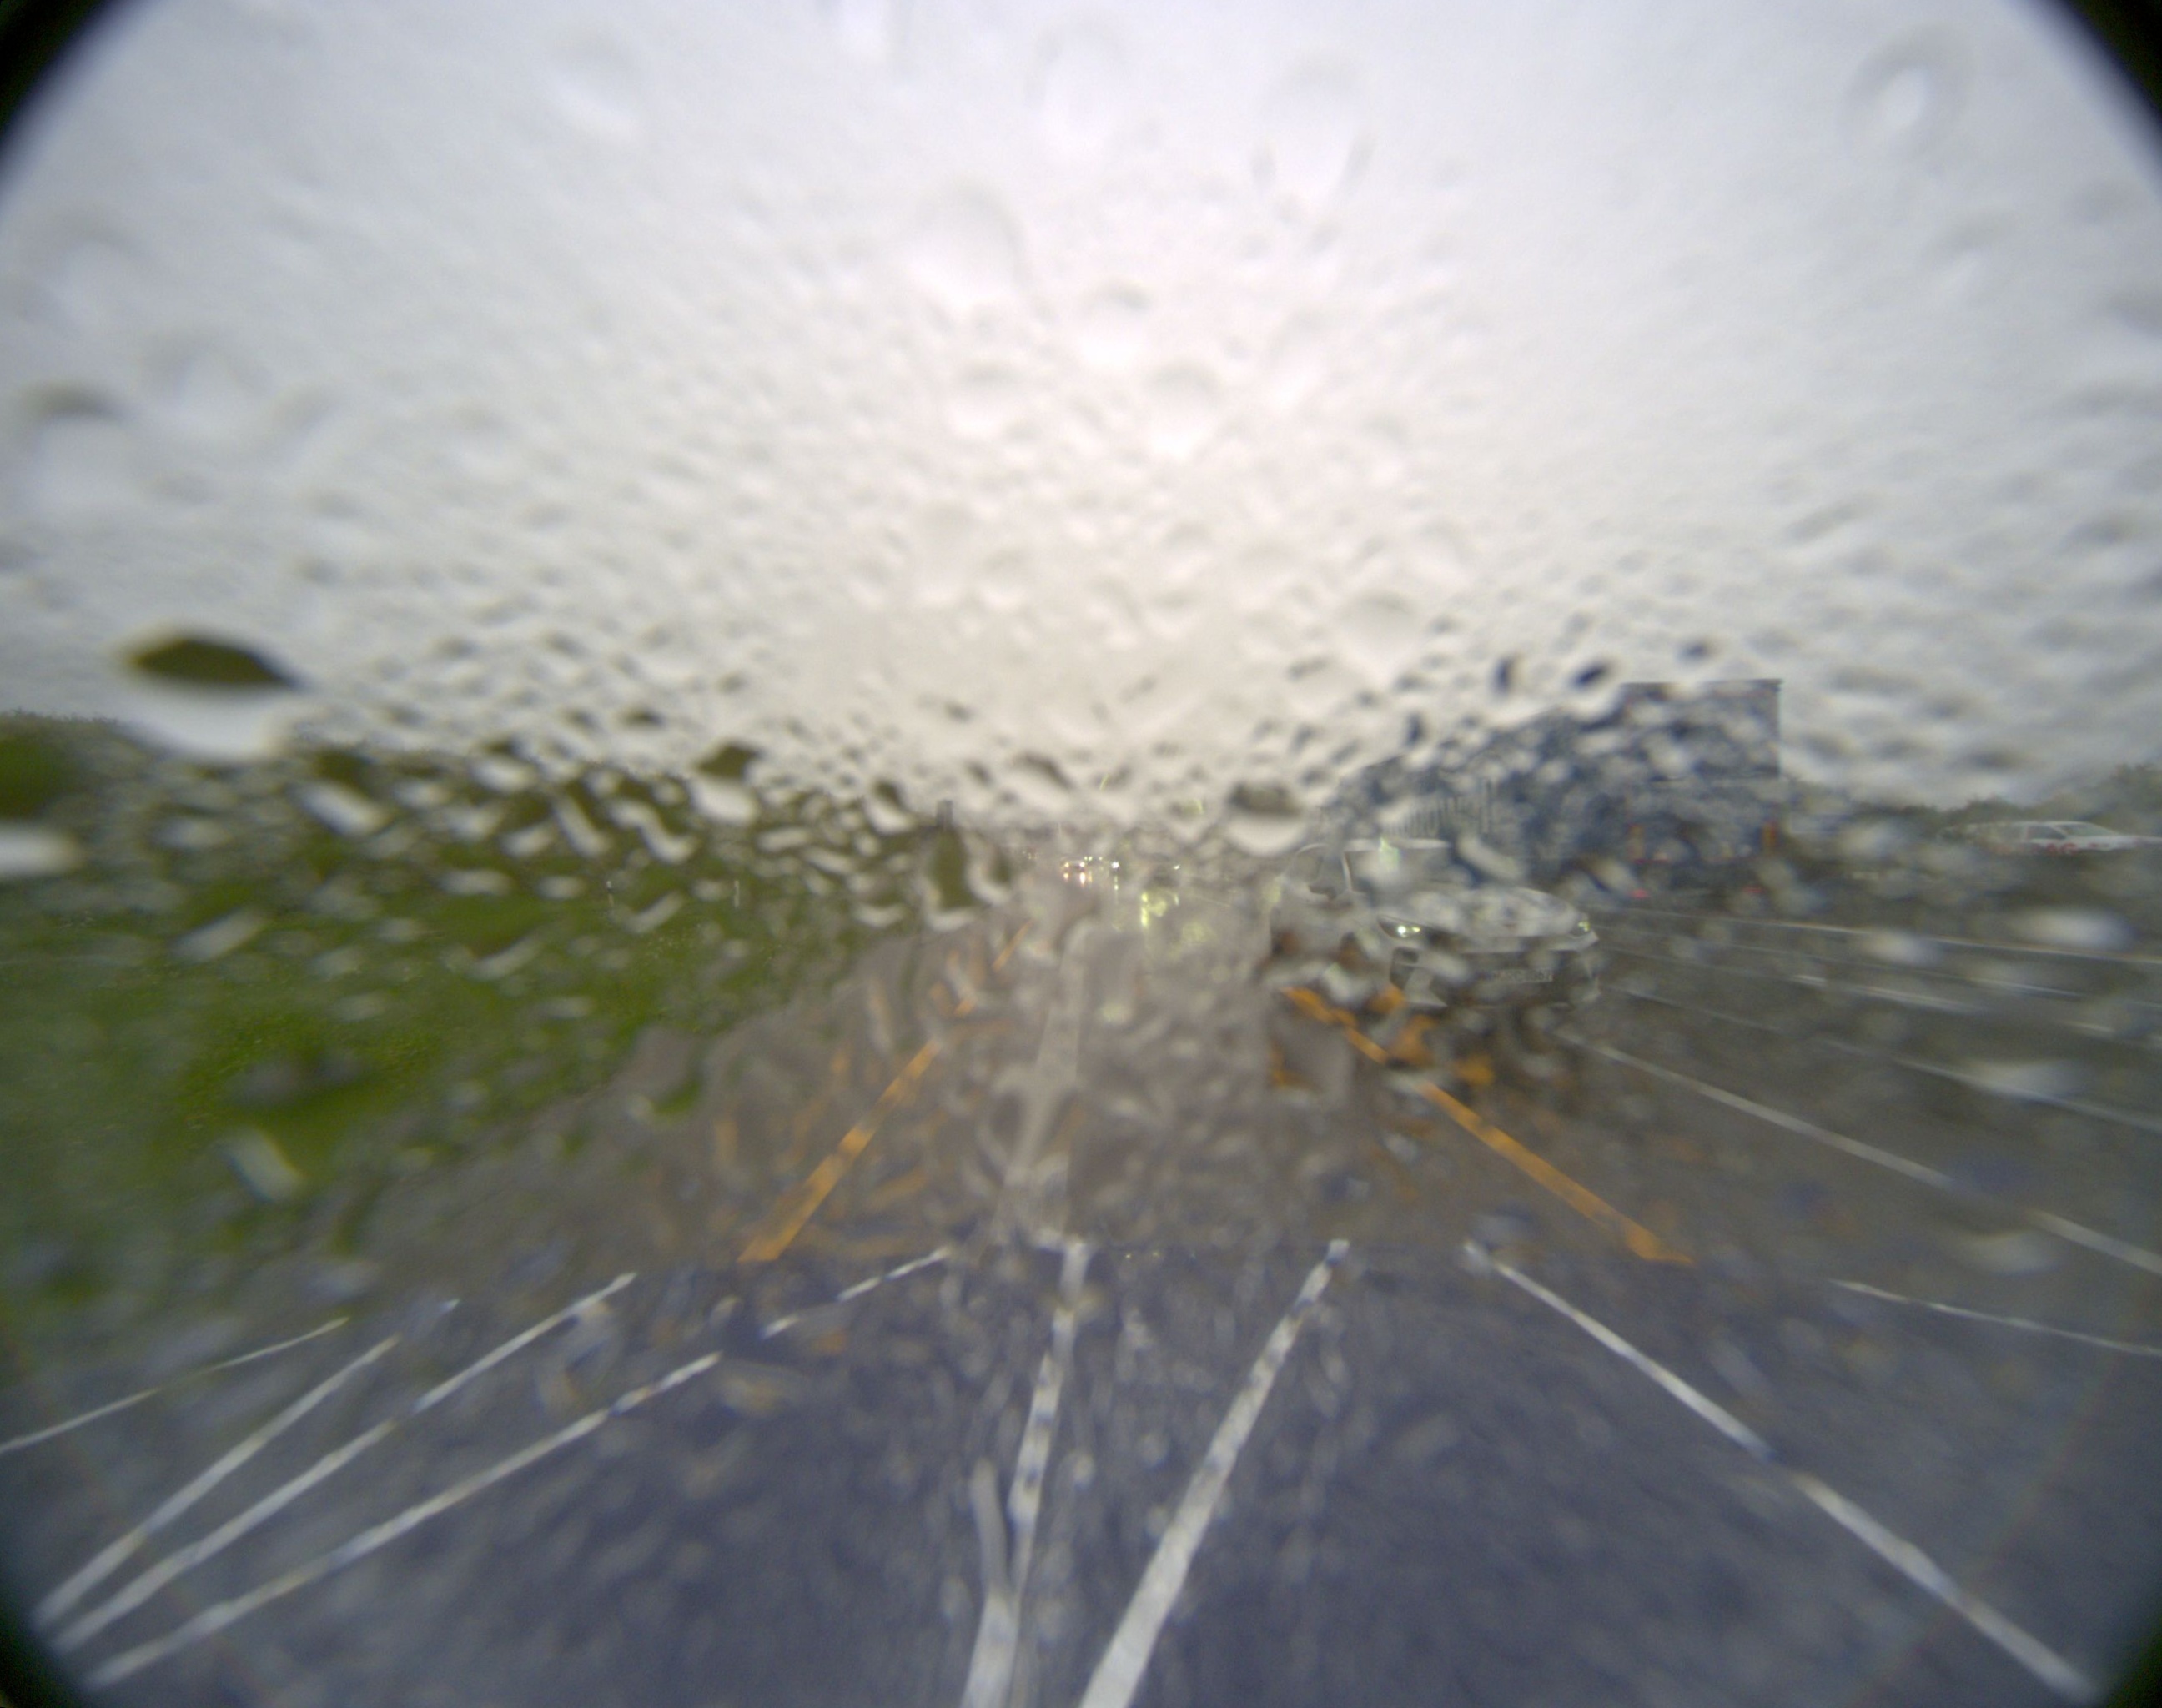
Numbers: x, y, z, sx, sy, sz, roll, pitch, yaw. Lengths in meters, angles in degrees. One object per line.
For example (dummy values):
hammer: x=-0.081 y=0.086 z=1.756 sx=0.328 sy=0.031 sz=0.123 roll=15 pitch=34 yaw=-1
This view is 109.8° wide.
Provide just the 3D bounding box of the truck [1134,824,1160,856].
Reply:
truck: x=8.778 y=-1.806 z=101.826 sx=2.649 sy=4.025 sz=7.283 roll=-3 pitch=1 yaw=-1

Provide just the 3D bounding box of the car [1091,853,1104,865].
car: x=2.183 y=0.701 z=102.069 sx=1.589 sy=1.528 sz=3.831 roll=-1 pitch=1 yaw=0

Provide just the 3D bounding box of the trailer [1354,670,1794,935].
trailer: x=9.930 y=-0.870 z=18.085 sx=2.606 sy=4.054 sz=12.431 roll=-2 pitch=1 yaw=1

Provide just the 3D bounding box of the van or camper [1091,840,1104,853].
van or camper: x=3.675 y=-1.682 z=173.312 sx=2.491 sy=2.902 sz=6.221 roll=-3 pitch=1 yaw=-1

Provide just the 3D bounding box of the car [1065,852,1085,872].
car: x=-0.540 y=0.696 z=71.466 sx=1.881 sy=1.772 sz=3.999 roll=-1 pitch=1 yaw=0

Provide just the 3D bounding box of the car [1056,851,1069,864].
car: x=-2.725 y=0.434 z=110.416 sx=1.674 sy=1.804 sz=3.998 roll=-1 pitch=1 yaw=-4

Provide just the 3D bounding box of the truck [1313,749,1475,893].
truck: x=10.073 y=-0.956 z=25.302 sx=2.630 sy=4.058 sz=6.669 roll=-2 pitch=0 yaw=1

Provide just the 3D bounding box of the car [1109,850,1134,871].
car: x=3.044 y=0.470 z=57.898 sx=1.792 sy=1.480 sz=4.000 roll=-3 pitch=1 yaw=2

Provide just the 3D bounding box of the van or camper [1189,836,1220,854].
van or camper: x=24.690 y=-1.806 z=152.449 sx=5.421 sy=3.325 sz=3.376 roll=-3 pitch=1 yaw=-3

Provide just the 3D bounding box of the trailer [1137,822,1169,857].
trailer: x=8.868 y=-1.775 z=95.107 sx=2.619 sy=3.984 sz=11.925 roll=-3 pitch=1 yaw=-1

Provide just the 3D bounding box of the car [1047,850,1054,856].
car: x=-9.086 y=-0.358 z=226.070 sx=1.673 sy=1.804 sz=3.999 roll=-1 pitch=1 yaw=0

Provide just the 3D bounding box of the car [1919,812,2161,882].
car: x=30.531 y=-0.230 z=24.045 sx=2.099 sy=1.955 sz=5.364 roll=-2 pitch=0 yaw=0

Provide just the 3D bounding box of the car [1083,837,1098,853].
car: x=2.460 y=-2.353 z=199.019 sx=3.306 sy=3.718 sz=9.398 roll=-3 pitch=1 yaw=-1

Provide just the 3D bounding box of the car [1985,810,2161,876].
car: x=34.978 y=-0.396 z=26.290 sx=2.365 sy=2.064 sz=5.586 roll=-1 pitch=1 yaw=21

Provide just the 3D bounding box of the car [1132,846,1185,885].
car: x=3.527 y=0.485 z=35.449 sx=2.069 sy=1.618 sz=5.196 roll=-2 pitch=0 yaw=2

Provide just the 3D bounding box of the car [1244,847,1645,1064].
car: x=3.185 y=0.723 z=8.047 sx=1.932 sy=1.542 sz=5.006 roll=-1 pitch=1 yaw=1
